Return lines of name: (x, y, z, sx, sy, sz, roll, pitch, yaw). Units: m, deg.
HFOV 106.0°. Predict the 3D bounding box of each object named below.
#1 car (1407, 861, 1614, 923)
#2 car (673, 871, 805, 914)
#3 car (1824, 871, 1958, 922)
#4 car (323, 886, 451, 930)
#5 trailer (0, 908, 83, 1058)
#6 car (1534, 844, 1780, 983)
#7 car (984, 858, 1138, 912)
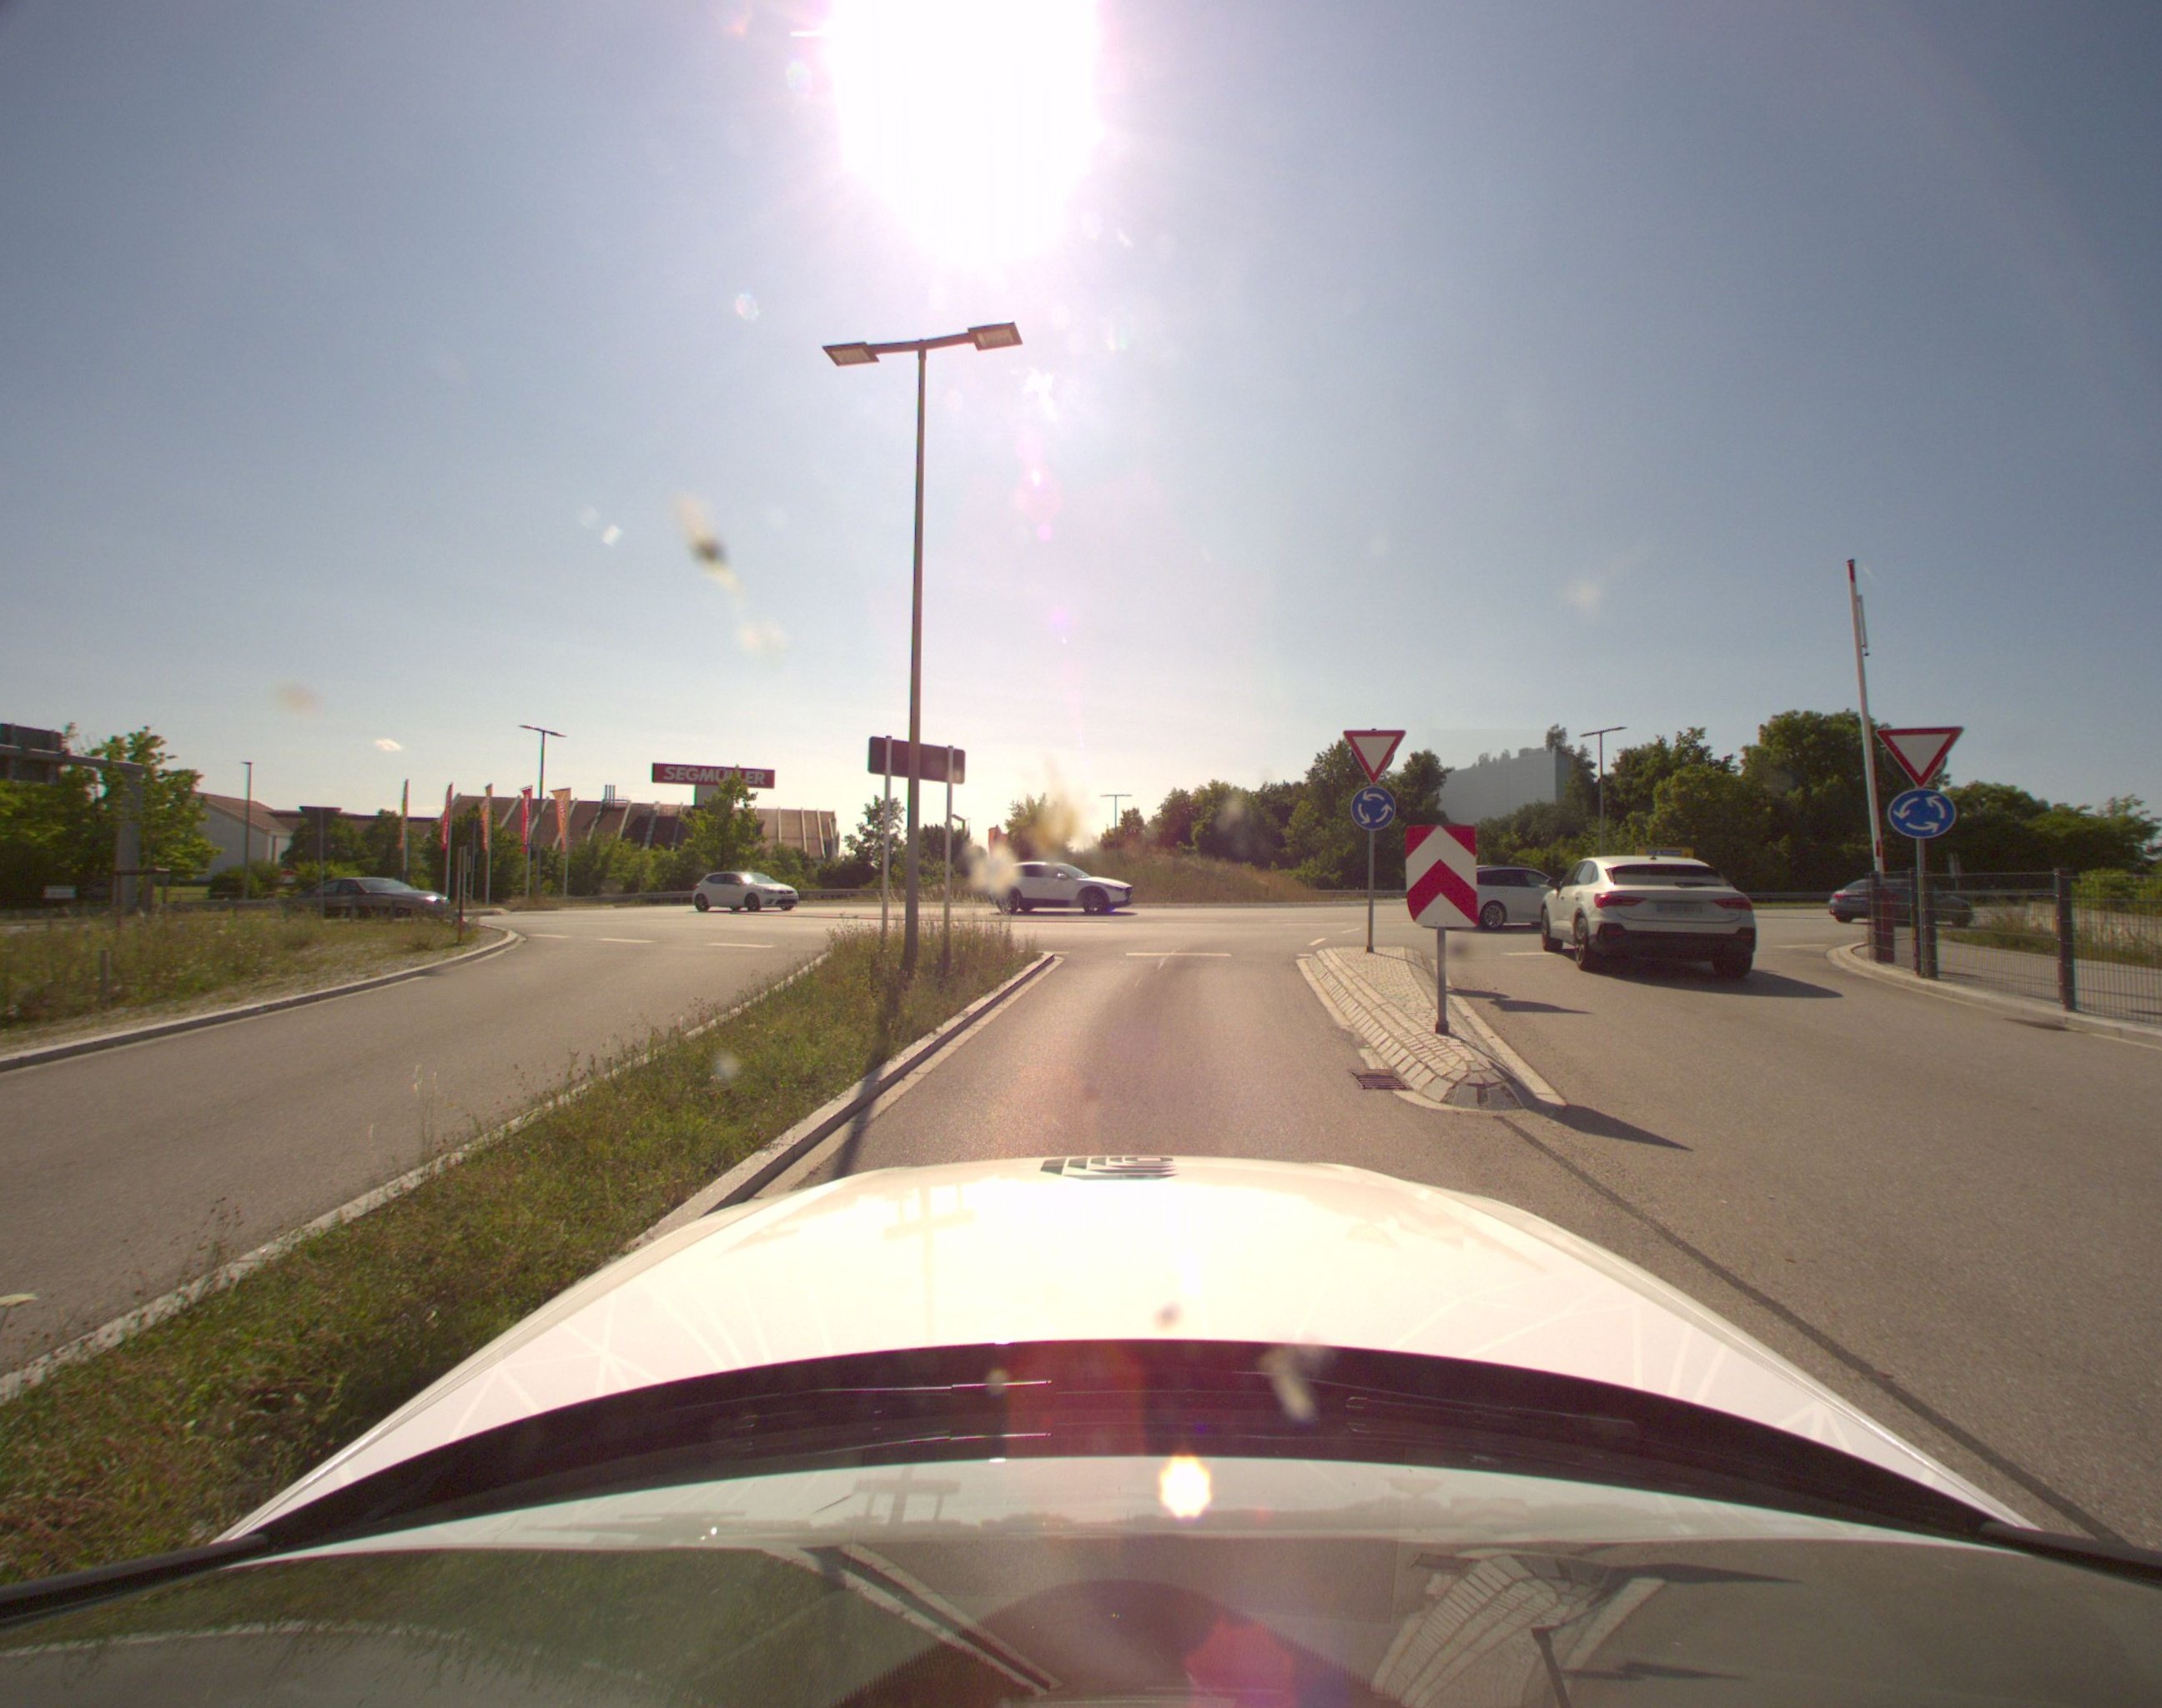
car: (9.979, 0.877, 18.986, 4.332, 1.352, 1.565, 1, -1, -14)
car: (-12.242, 1.341, 29.166, 4.363, 1.405, 1.801, 0, -1, 23)
car: (25.571, 1.312, 25.671, 4.890, 1.452, 1.980, 2, -1, -33)
car: (-21.863, 1.650, 25.639, 3.816, 1.182, 1.686, 0, -1, 27)
trailer: (-15.516, 1.577, 9.970, 3.711, 1.772, 1.788, 4, -2, -34)
car: (7.933, 0.727, 11.723, 1.826, 1.596, 4.346, 0, -1, 20)
car: (-0.577, 0.903, 24.454, 4.239, 1.530, 1.800, 0, -2, 18)
